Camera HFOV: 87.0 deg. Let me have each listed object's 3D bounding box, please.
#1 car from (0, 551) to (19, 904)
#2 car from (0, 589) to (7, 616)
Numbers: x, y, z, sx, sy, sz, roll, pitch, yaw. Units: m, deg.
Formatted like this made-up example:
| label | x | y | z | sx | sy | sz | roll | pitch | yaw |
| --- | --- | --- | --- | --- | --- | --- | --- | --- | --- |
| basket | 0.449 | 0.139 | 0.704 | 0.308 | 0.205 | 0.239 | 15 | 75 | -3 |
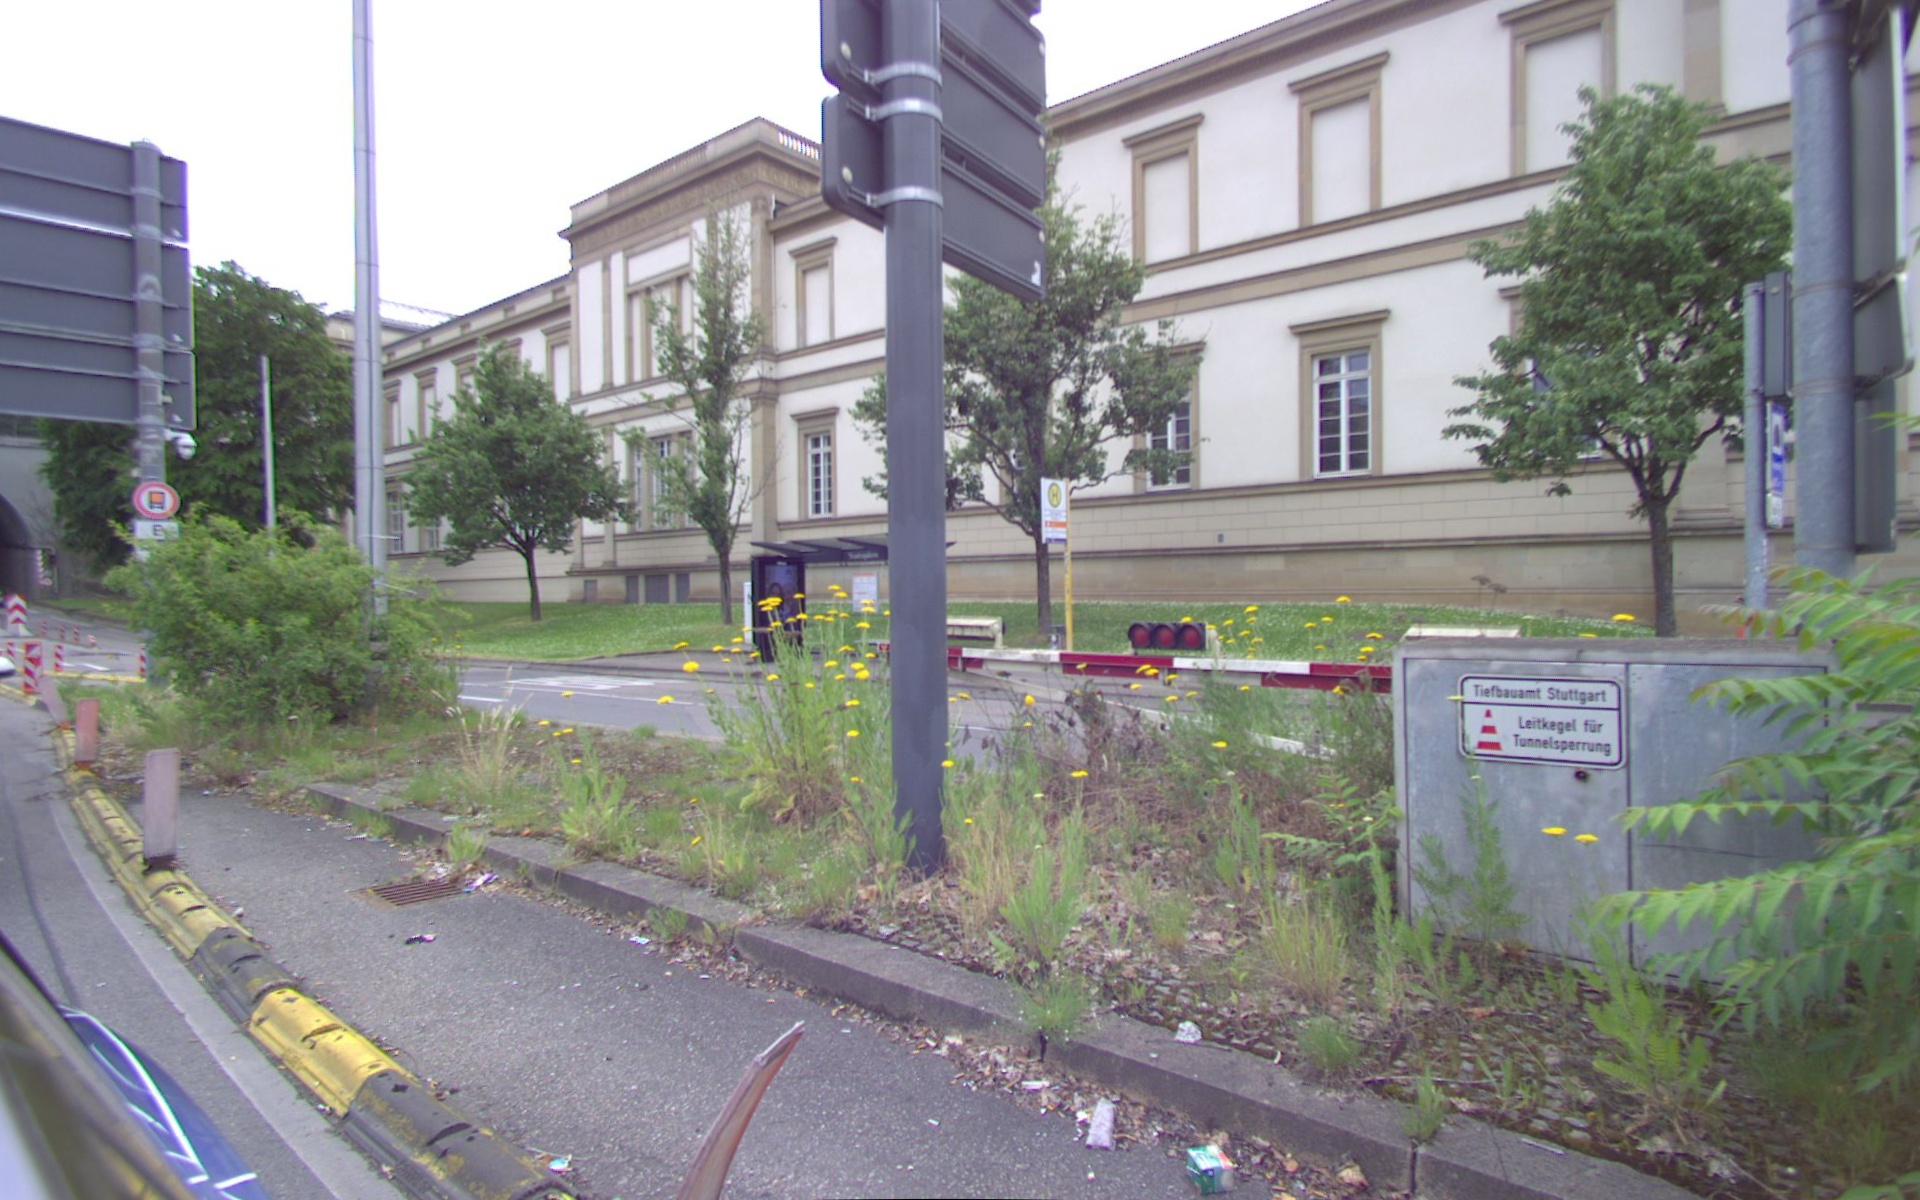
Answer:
| label | x | y | z | sx | sy | sz | roll | pitch | yaw |
| --- | --- | --- | --- | --- | --- | --- | --- | --- | --- |
| car | -6.428 | 0.600 | 5.236 | 3.669 | 1.637 | 1.961 | 0 | 0 | 42 |
| car | -64.731 | 0.152 | 67.257 | 4.001 | 1.759 | 1.811 | 0 | 0 | 44 |
